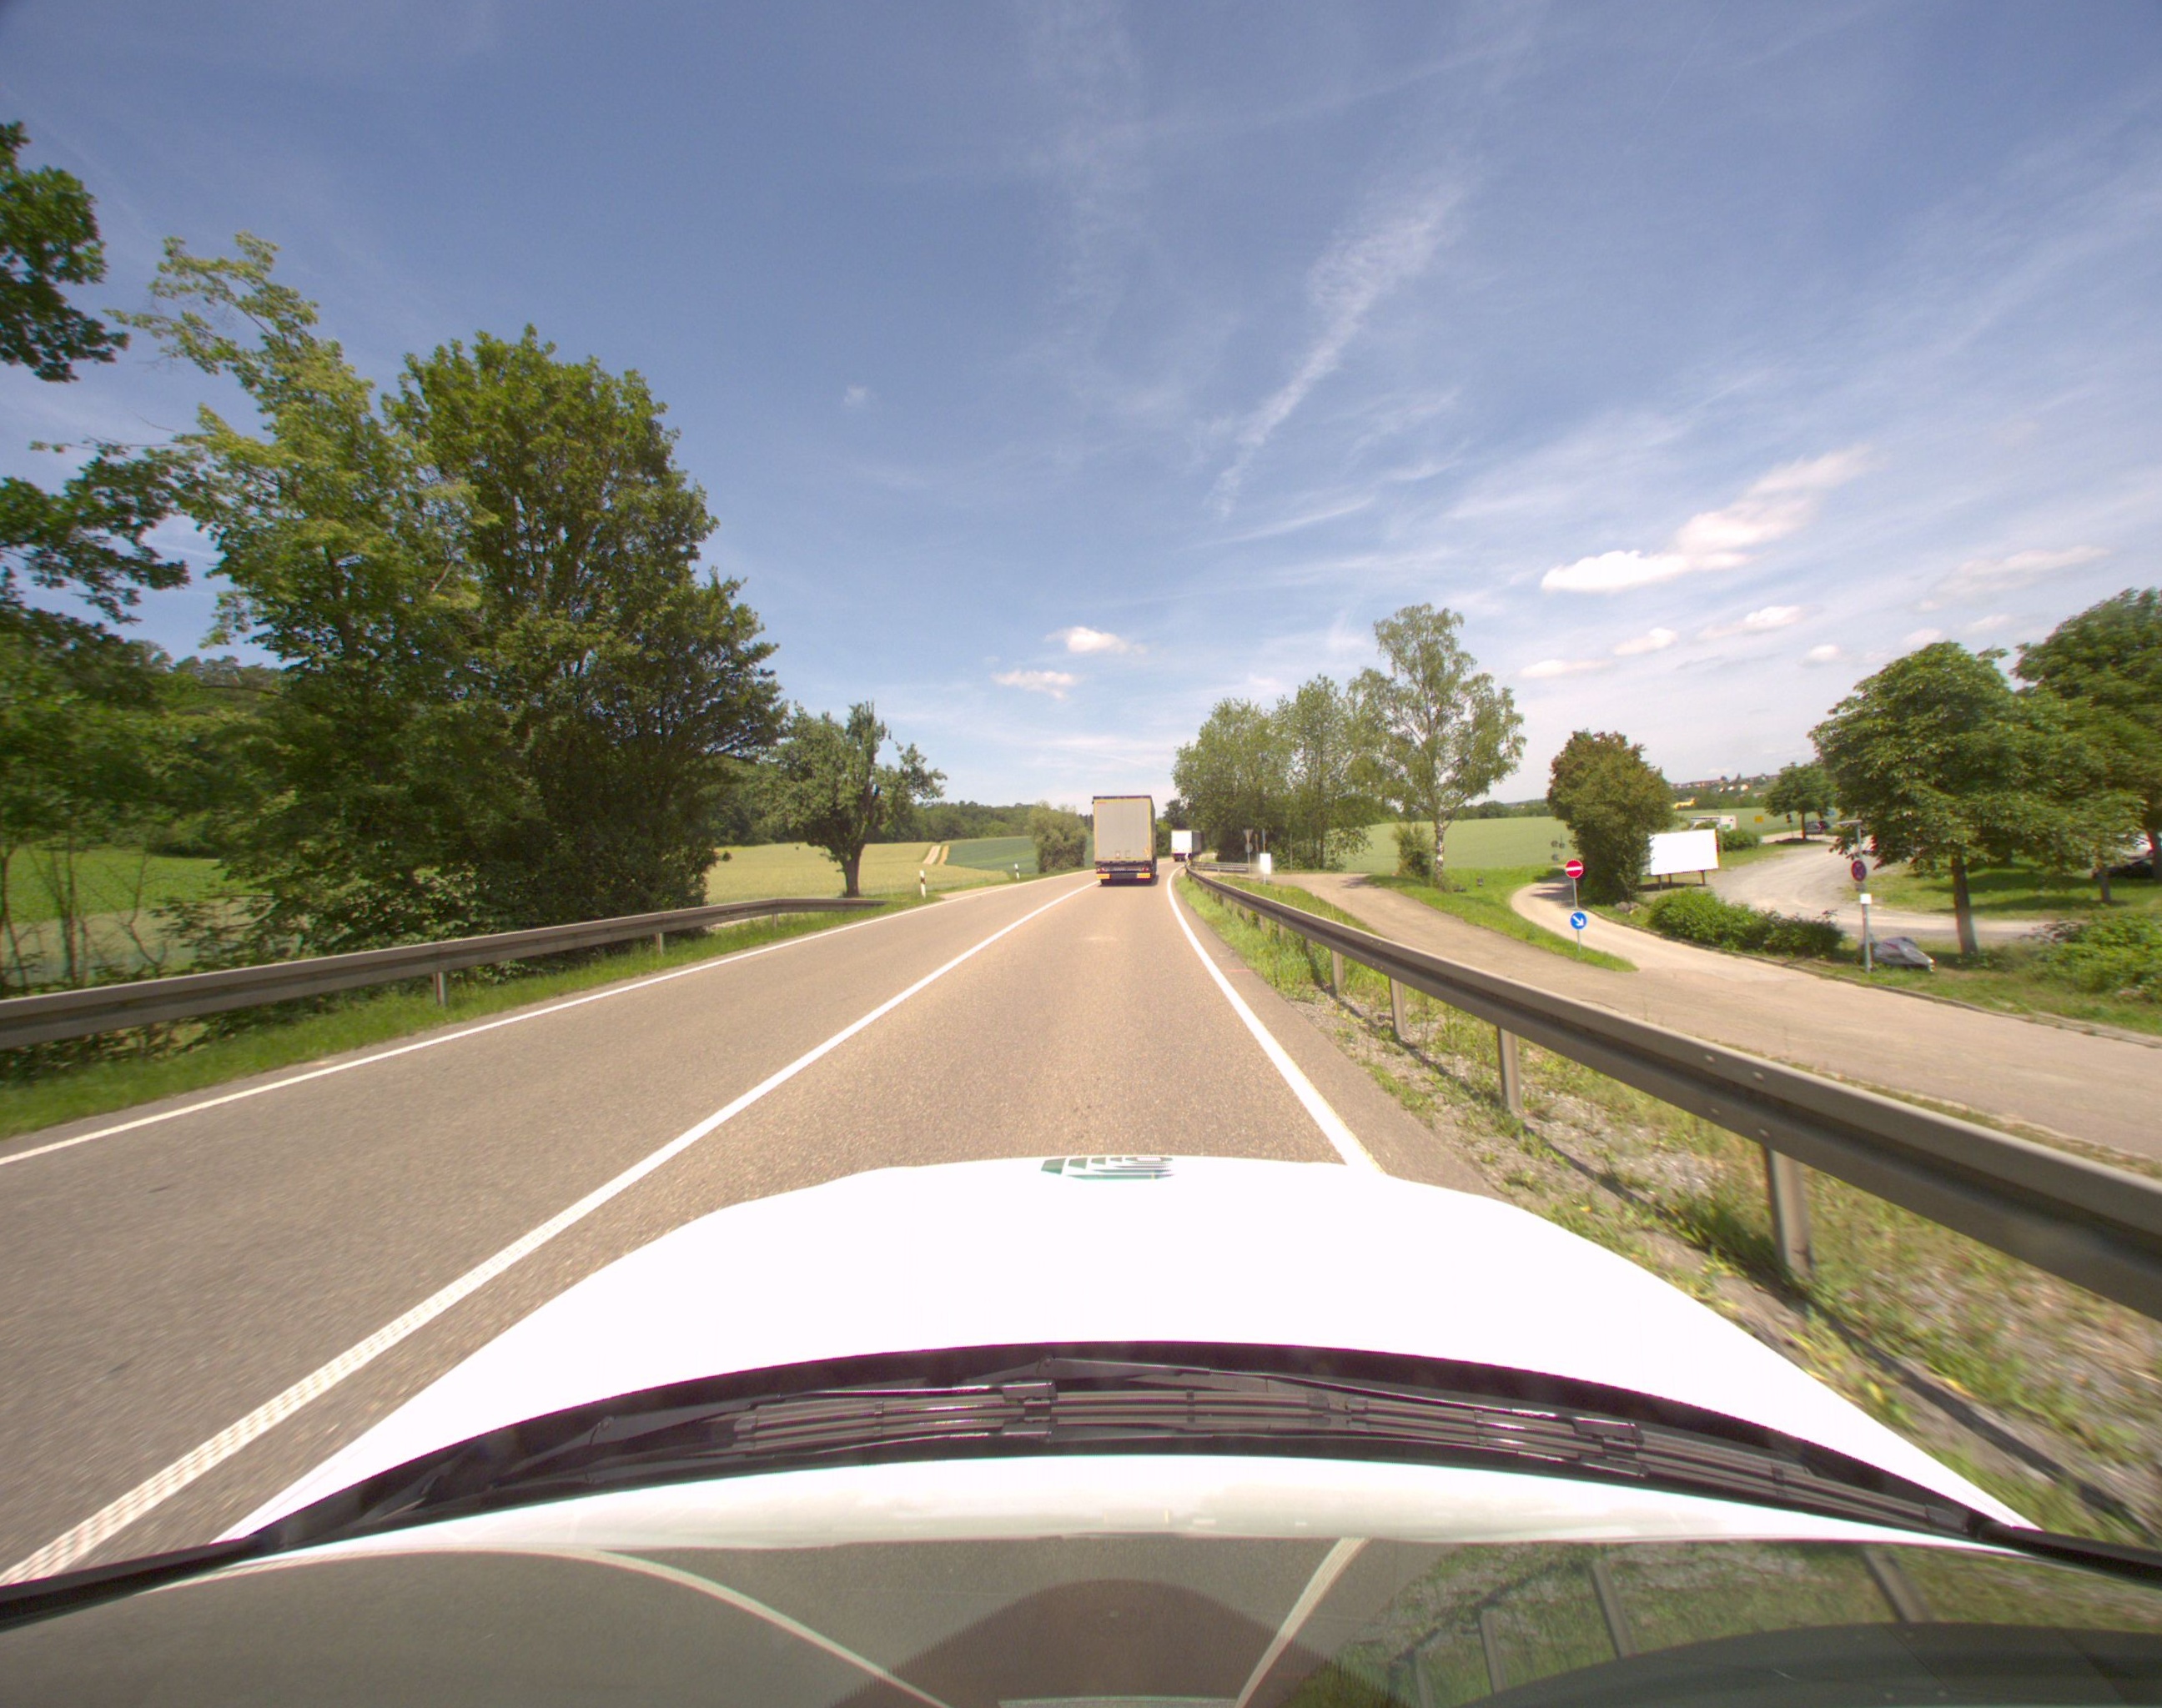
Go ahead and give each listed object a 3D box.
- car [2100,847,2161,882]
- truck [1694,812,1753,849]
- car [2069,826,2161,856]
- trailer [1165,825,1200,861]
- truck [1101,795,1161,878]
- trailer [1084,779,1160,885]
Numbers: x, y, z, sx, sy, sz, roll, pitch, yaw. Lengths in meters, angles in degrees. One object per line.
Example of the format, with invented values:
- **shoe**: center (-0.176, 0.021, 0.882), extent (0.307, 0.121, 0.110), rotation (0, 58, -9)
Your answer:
- **car**: center (50.147, 0.468, 37.613), extent (1.700, 1.491, 3.659), rotation (-4, 1, -31)
- **truck**: center (71.667, -2.667, 90.757), extent (7.171, 3.535, 3.118), rotation (-5, 1, -36)
- **car**: center (64.629, -0.770, 50.277), extent (2.006, 1.658, 4.303), rotation (-4, 1, -29)
- **trailer**: center (13.674, -1.308, 108.710), extent (3.343, 4.317, 13.907), rotation (-2, -1, 12)
- **truck**: center (3.071, -0.956, 47.976), extent (3.103, 4.494, 6.822), rotation (-1, 0, 6)
- **trailer**: center (2.454, -0.961, 42.178), extent (3.103, 4.499, 13.909), rotation (-1, 0, 6)
